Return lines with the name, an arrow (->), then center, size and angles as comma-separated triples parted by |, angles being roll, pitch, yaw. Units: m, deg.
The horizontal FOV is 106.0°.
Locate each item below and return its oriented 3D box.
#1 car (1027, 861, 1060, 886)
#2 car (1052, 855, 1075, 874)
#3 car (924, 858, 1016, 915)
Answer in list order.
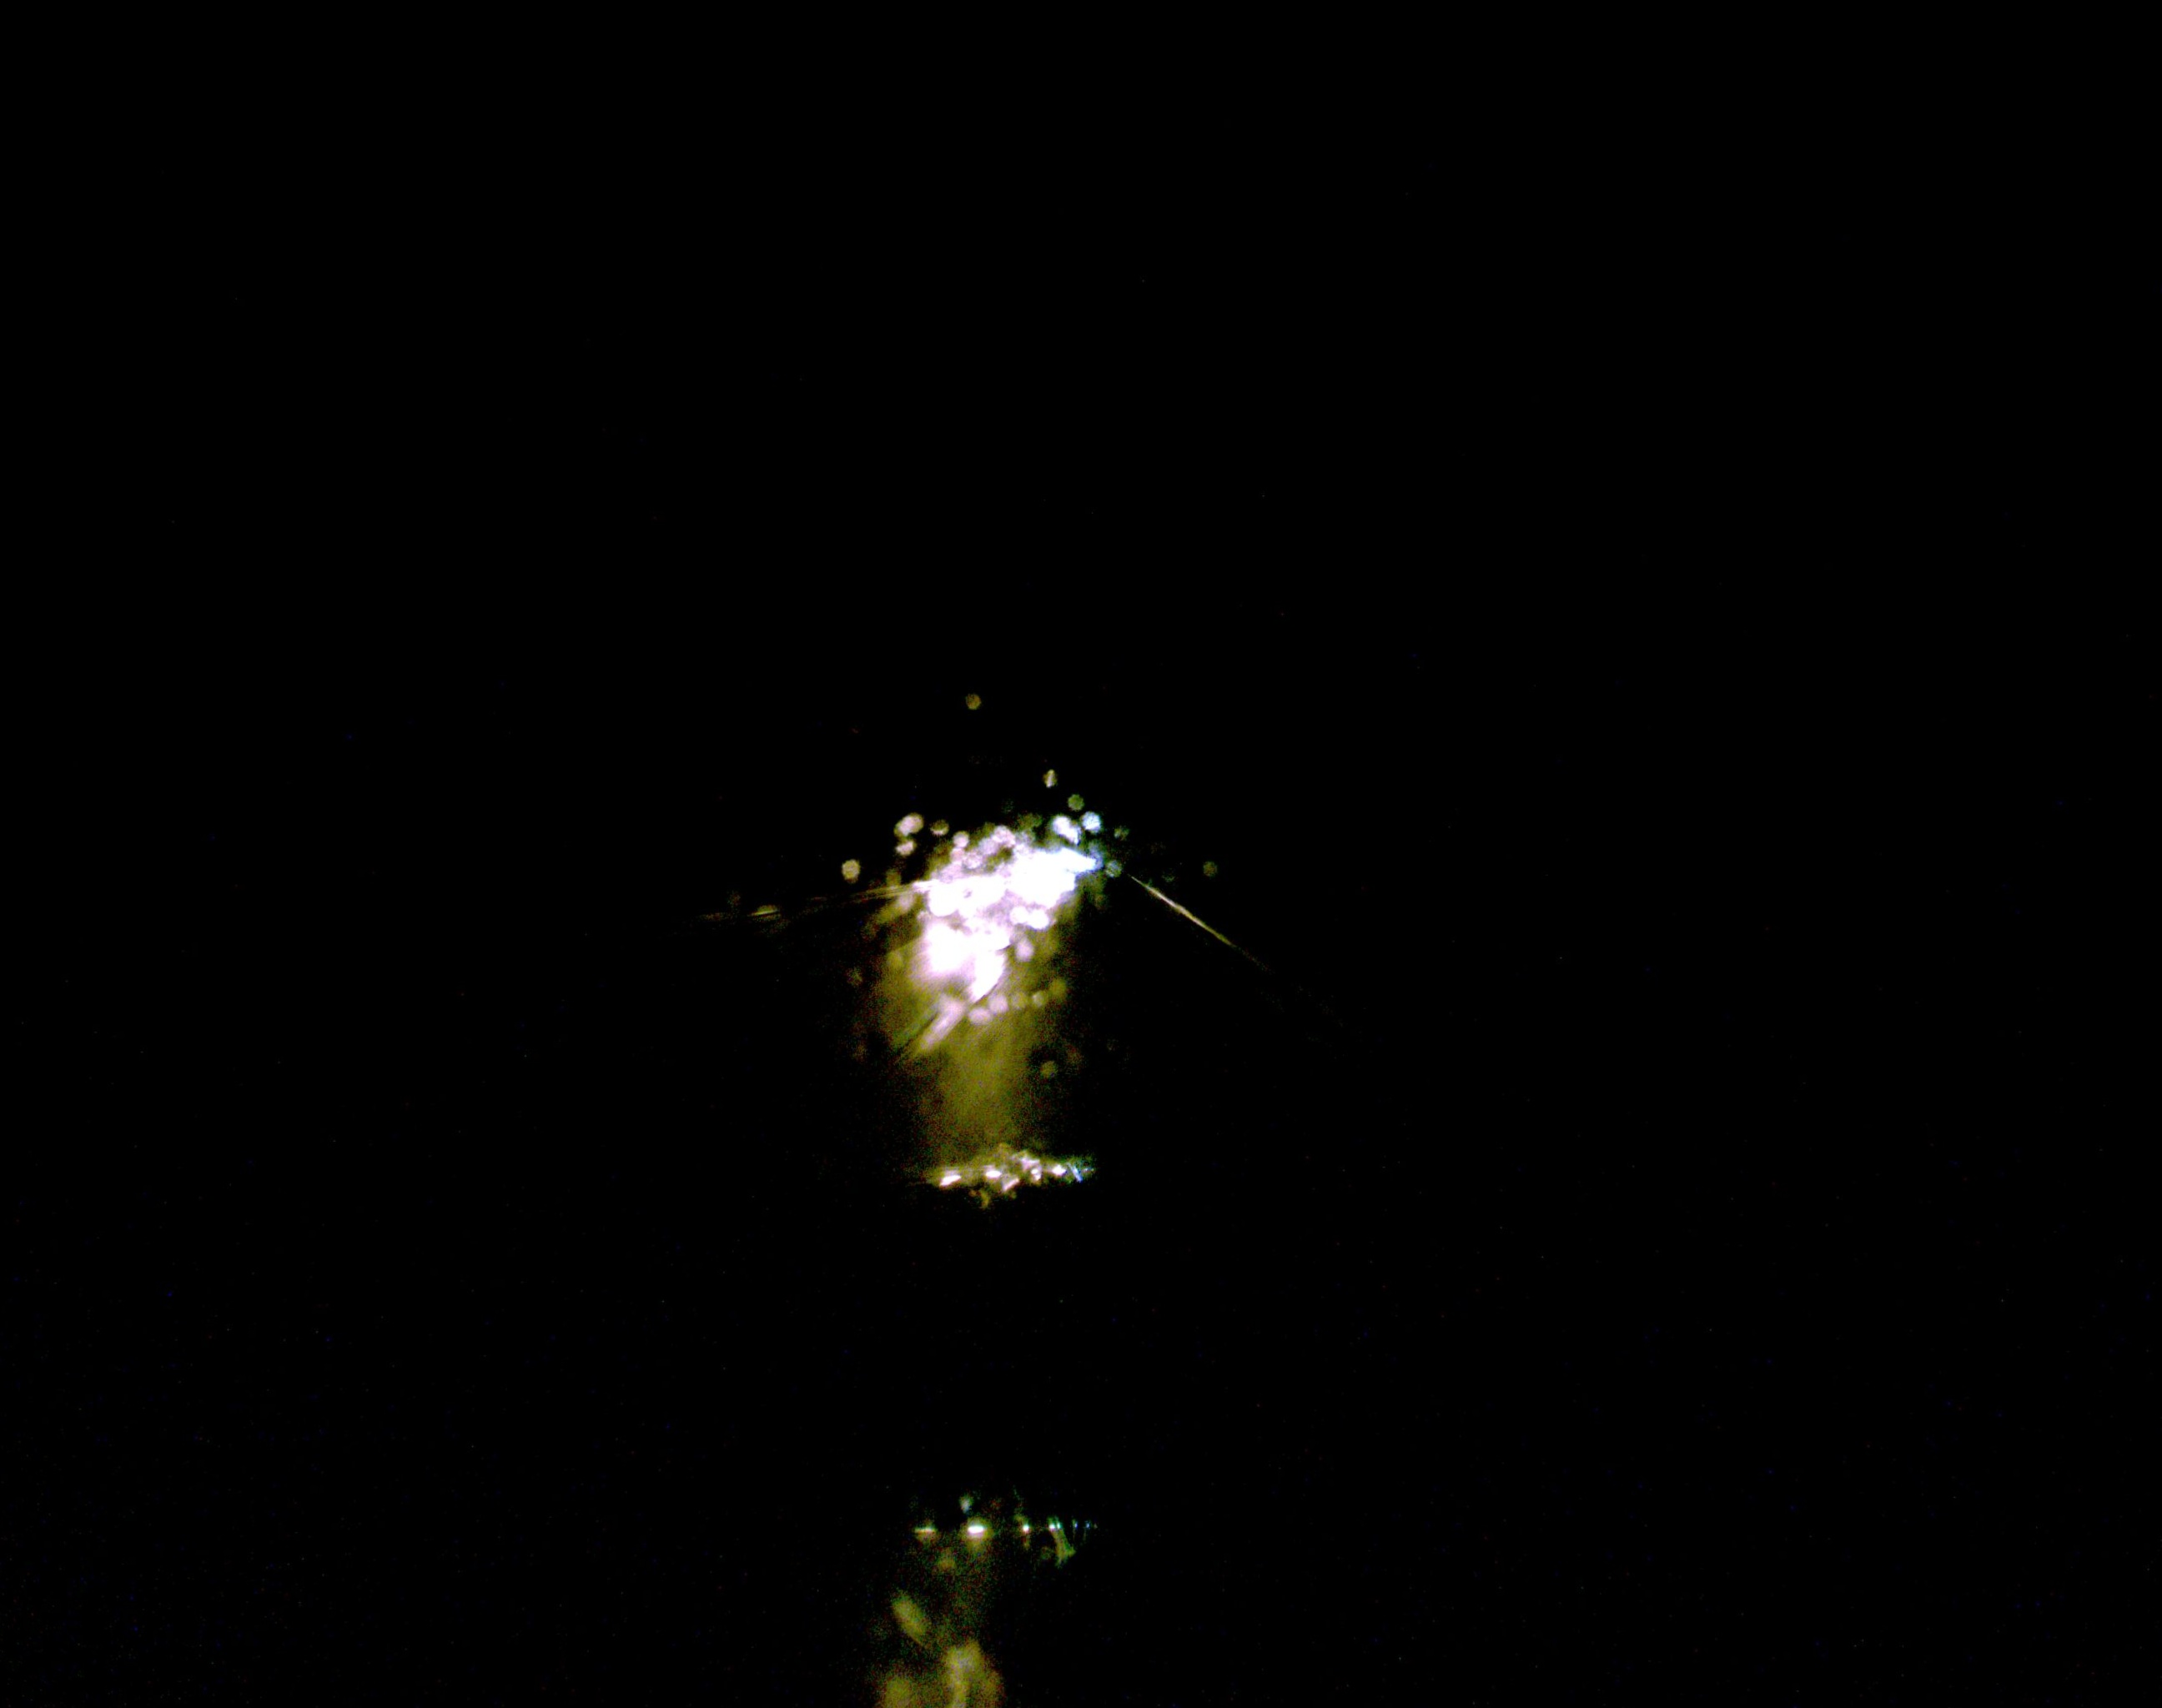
car -> -2.292, 1.197, 50.705 | 1.837, 1.480, 4.249 | 0, 0, 1
car -> -1.652, 0.988, 77.526 | 1.986, 1.793, 4.247 | 0, 0, 2
car -> -3.092, 0.868, 23.413 | 1.986, 1.475, 3.925 | 0, 0, 1
